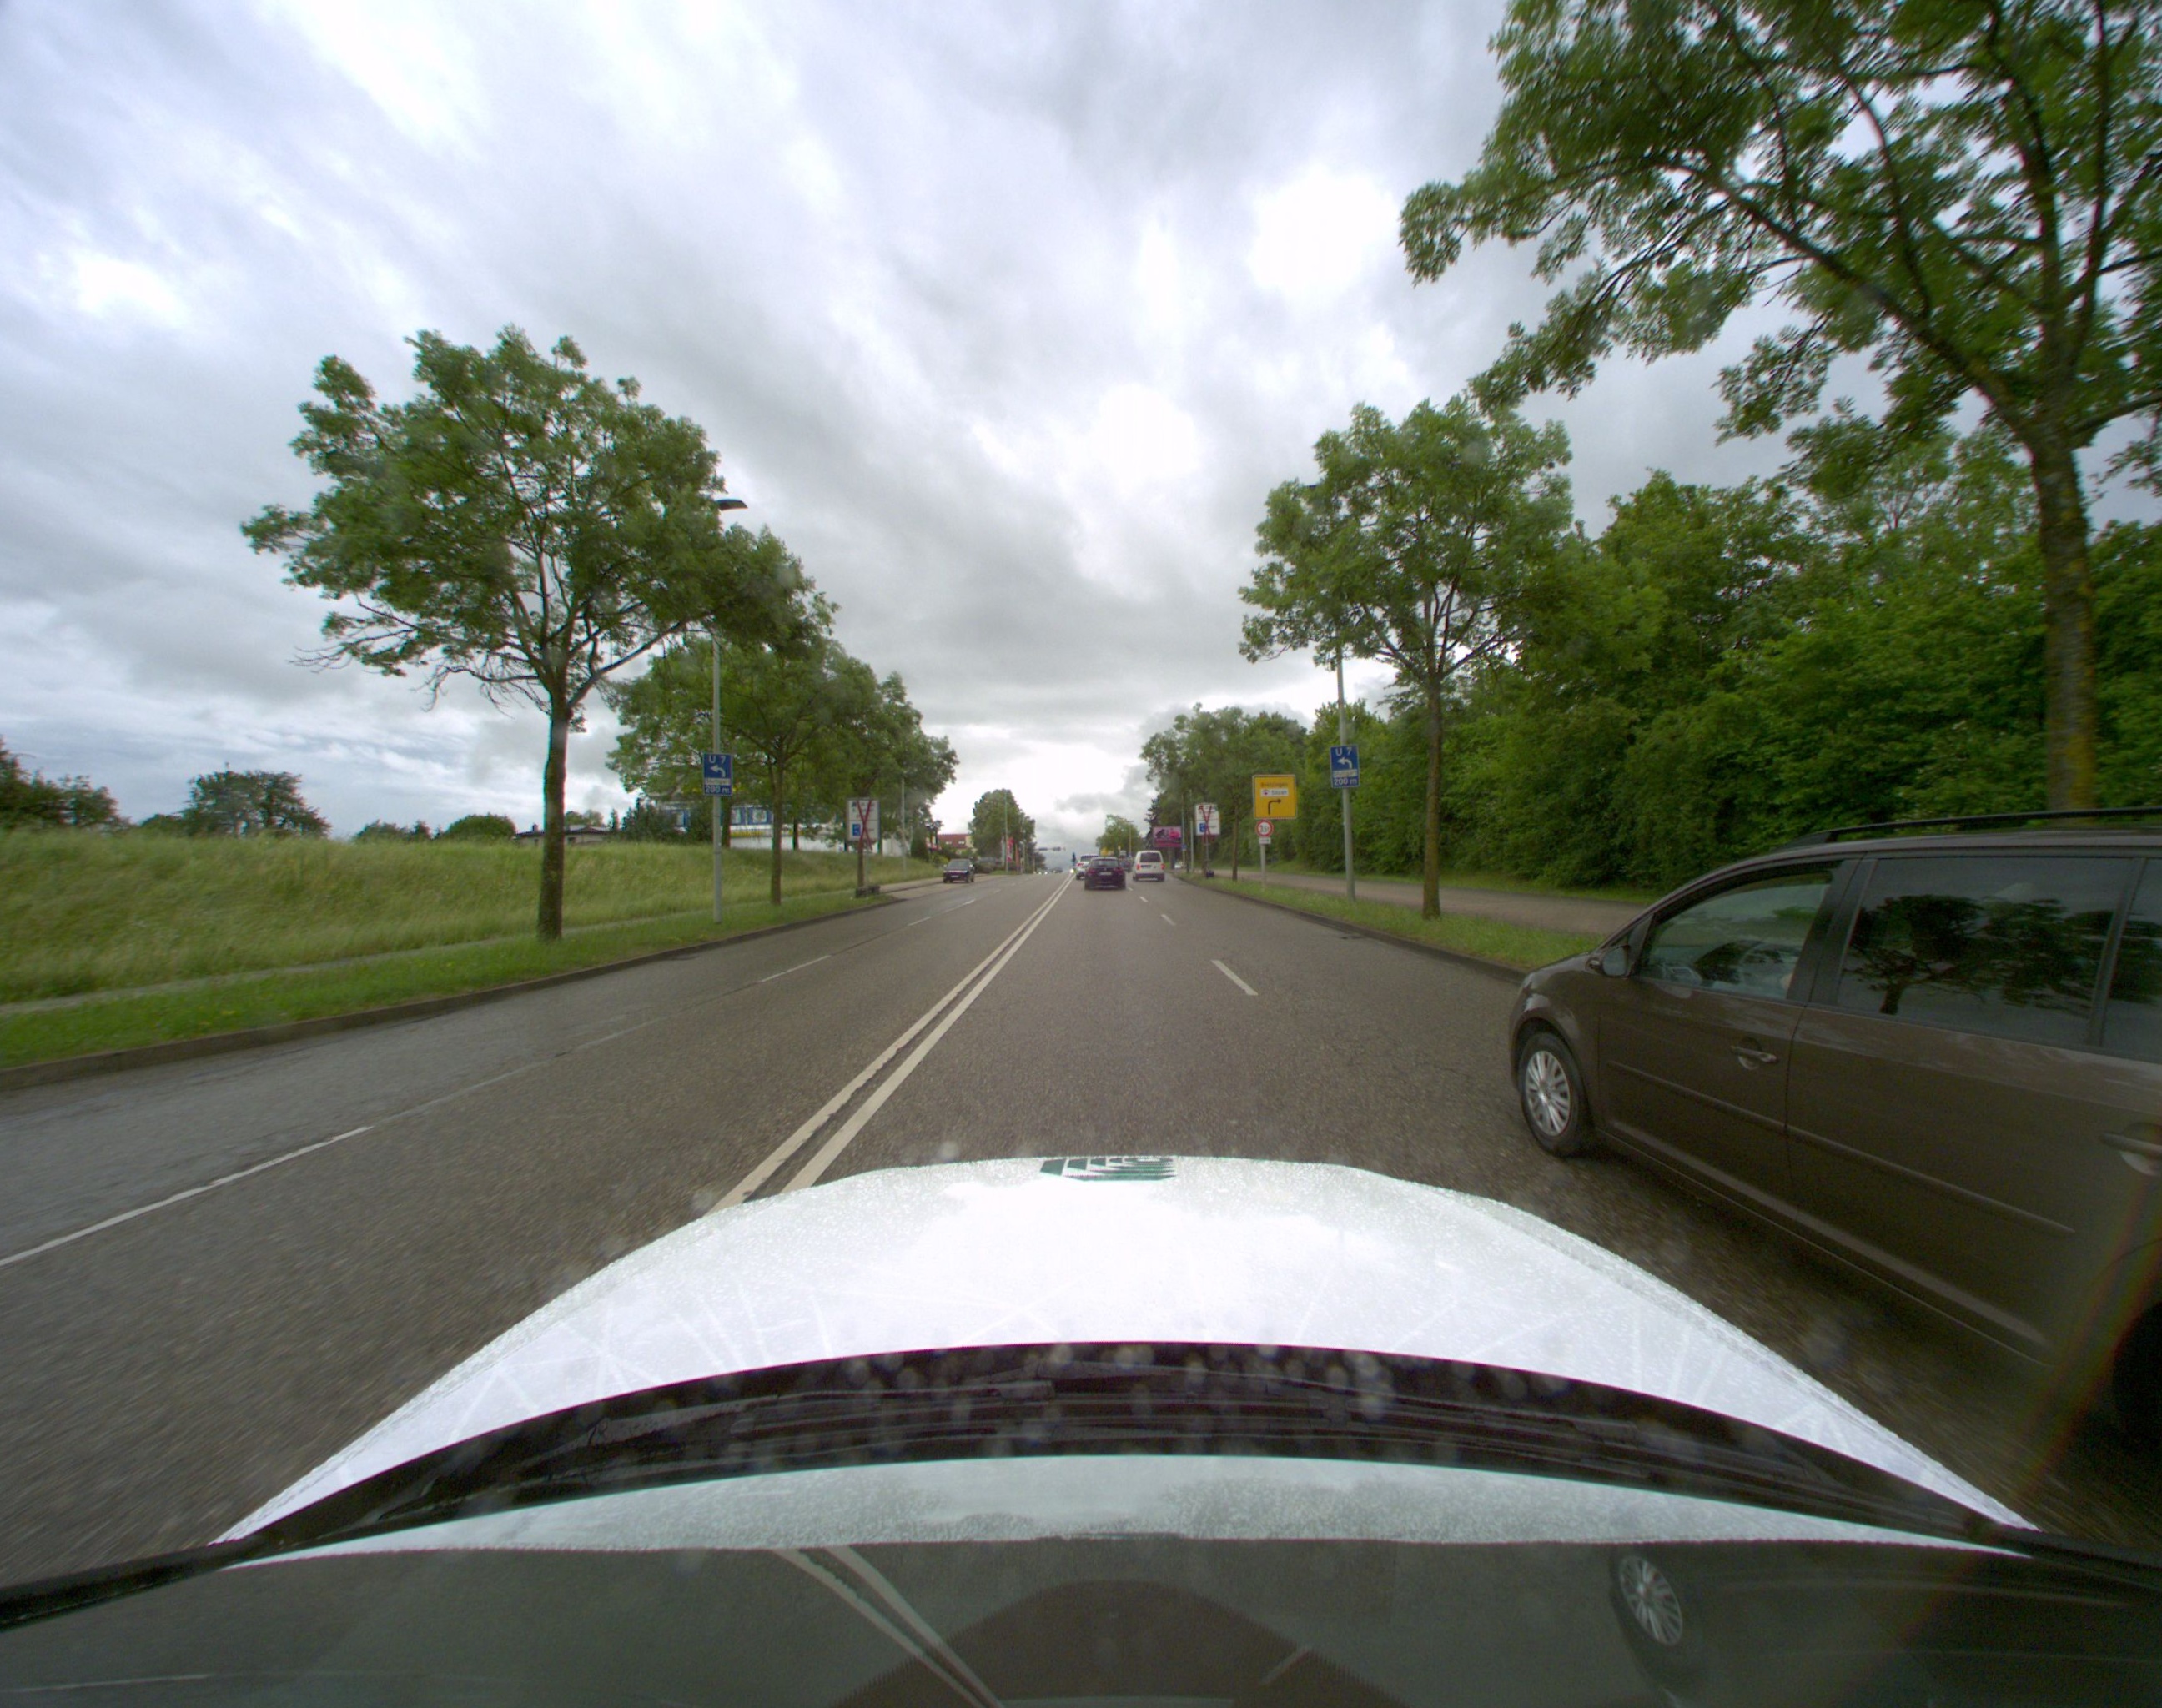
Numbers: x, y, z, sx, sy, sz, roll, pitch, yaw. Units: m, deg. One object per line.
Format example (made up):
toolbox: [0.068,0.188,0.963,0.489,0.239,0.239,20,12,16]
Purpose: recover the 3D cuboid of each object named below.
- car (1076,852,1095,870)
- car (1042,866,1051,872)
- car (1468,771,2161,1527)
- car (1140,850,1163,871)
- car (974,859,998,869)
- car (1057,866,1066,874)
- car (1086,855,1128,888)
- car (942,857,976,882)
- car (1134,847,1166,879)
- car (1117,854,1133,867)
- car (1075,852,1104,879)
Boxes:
car: [0.467,0.697,80.513,1.751,1.708,3.948,-2,0,2]
car: [-7.639,3.296,179.707,1.787,1.401,4.300,-3,-1,1]
car: [3.159,0.624,2.860,1.707,1.596,4.131,-1,-1,1]
car: [6.187,0.569,72.245,1.807,1.708,3.948,-2,0,2]
car: [-15.071,1.596,129.190,3.823,1.482,1.737,-1,-1,-7]
car: [-4.072,3.301,167.477,1.790,1.584,4.196,-3,0,-1]
car: [1.228,0.765,37.398,1.847,1.419,3.959,0,0,3]
car: [-8.642,1.055,57.894,1.720,1.668,4.488,0,0,0]
car: [4.110,0.526,49.260,1.735,1.869,3.948,0,0,2]
car: [4.752,0.671,87.941,1.594,1.372,3.681,-2,0,2]
car: [0.595,0.747,54.397,1.721,1.711,3.385,0,0,3]
